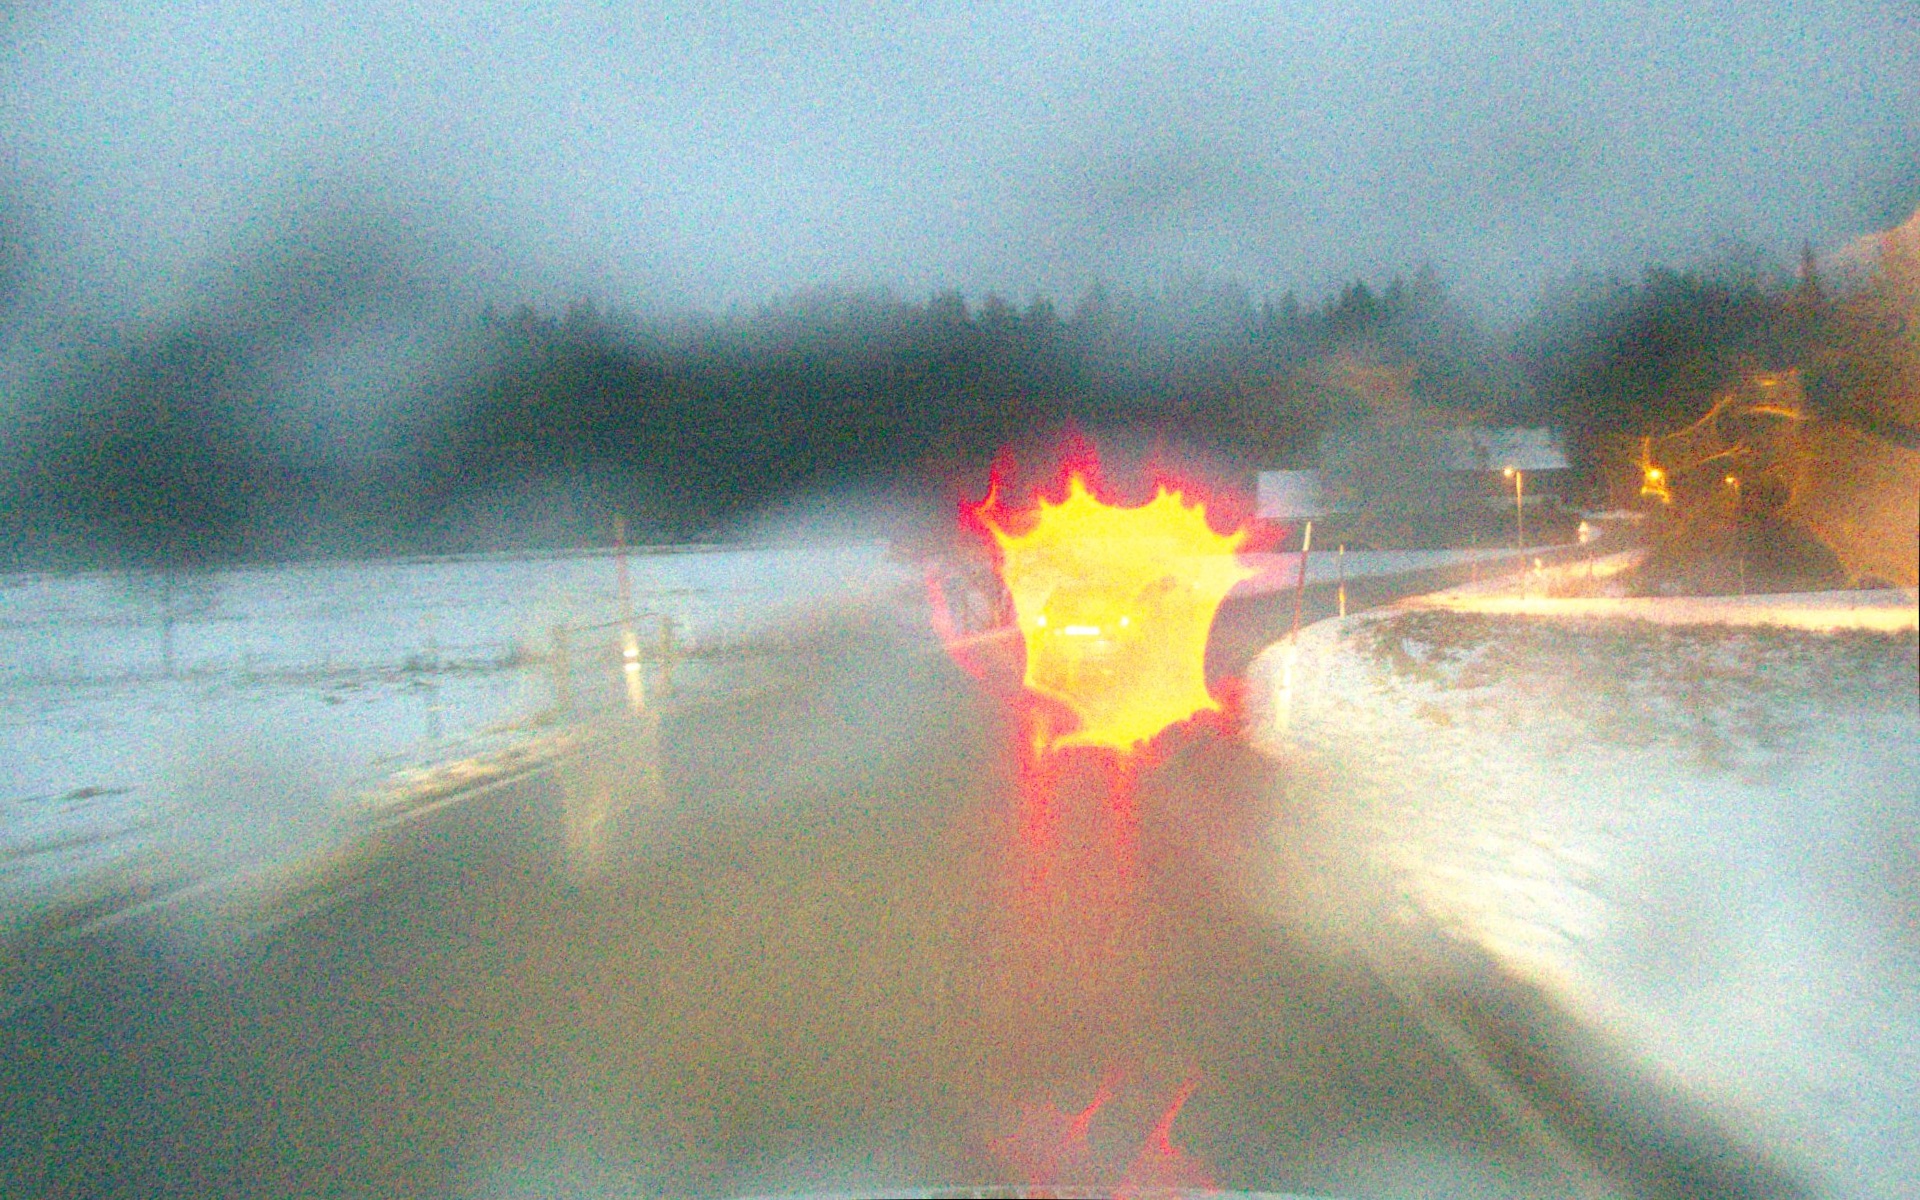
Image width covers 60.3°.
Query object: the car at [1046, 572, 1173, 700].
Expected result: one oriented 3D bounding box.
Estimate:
[{"bbox_3d":[2.435,0.522,26.237,1.783,1.828,3.580,-2,0,8],"label":"car"}]
